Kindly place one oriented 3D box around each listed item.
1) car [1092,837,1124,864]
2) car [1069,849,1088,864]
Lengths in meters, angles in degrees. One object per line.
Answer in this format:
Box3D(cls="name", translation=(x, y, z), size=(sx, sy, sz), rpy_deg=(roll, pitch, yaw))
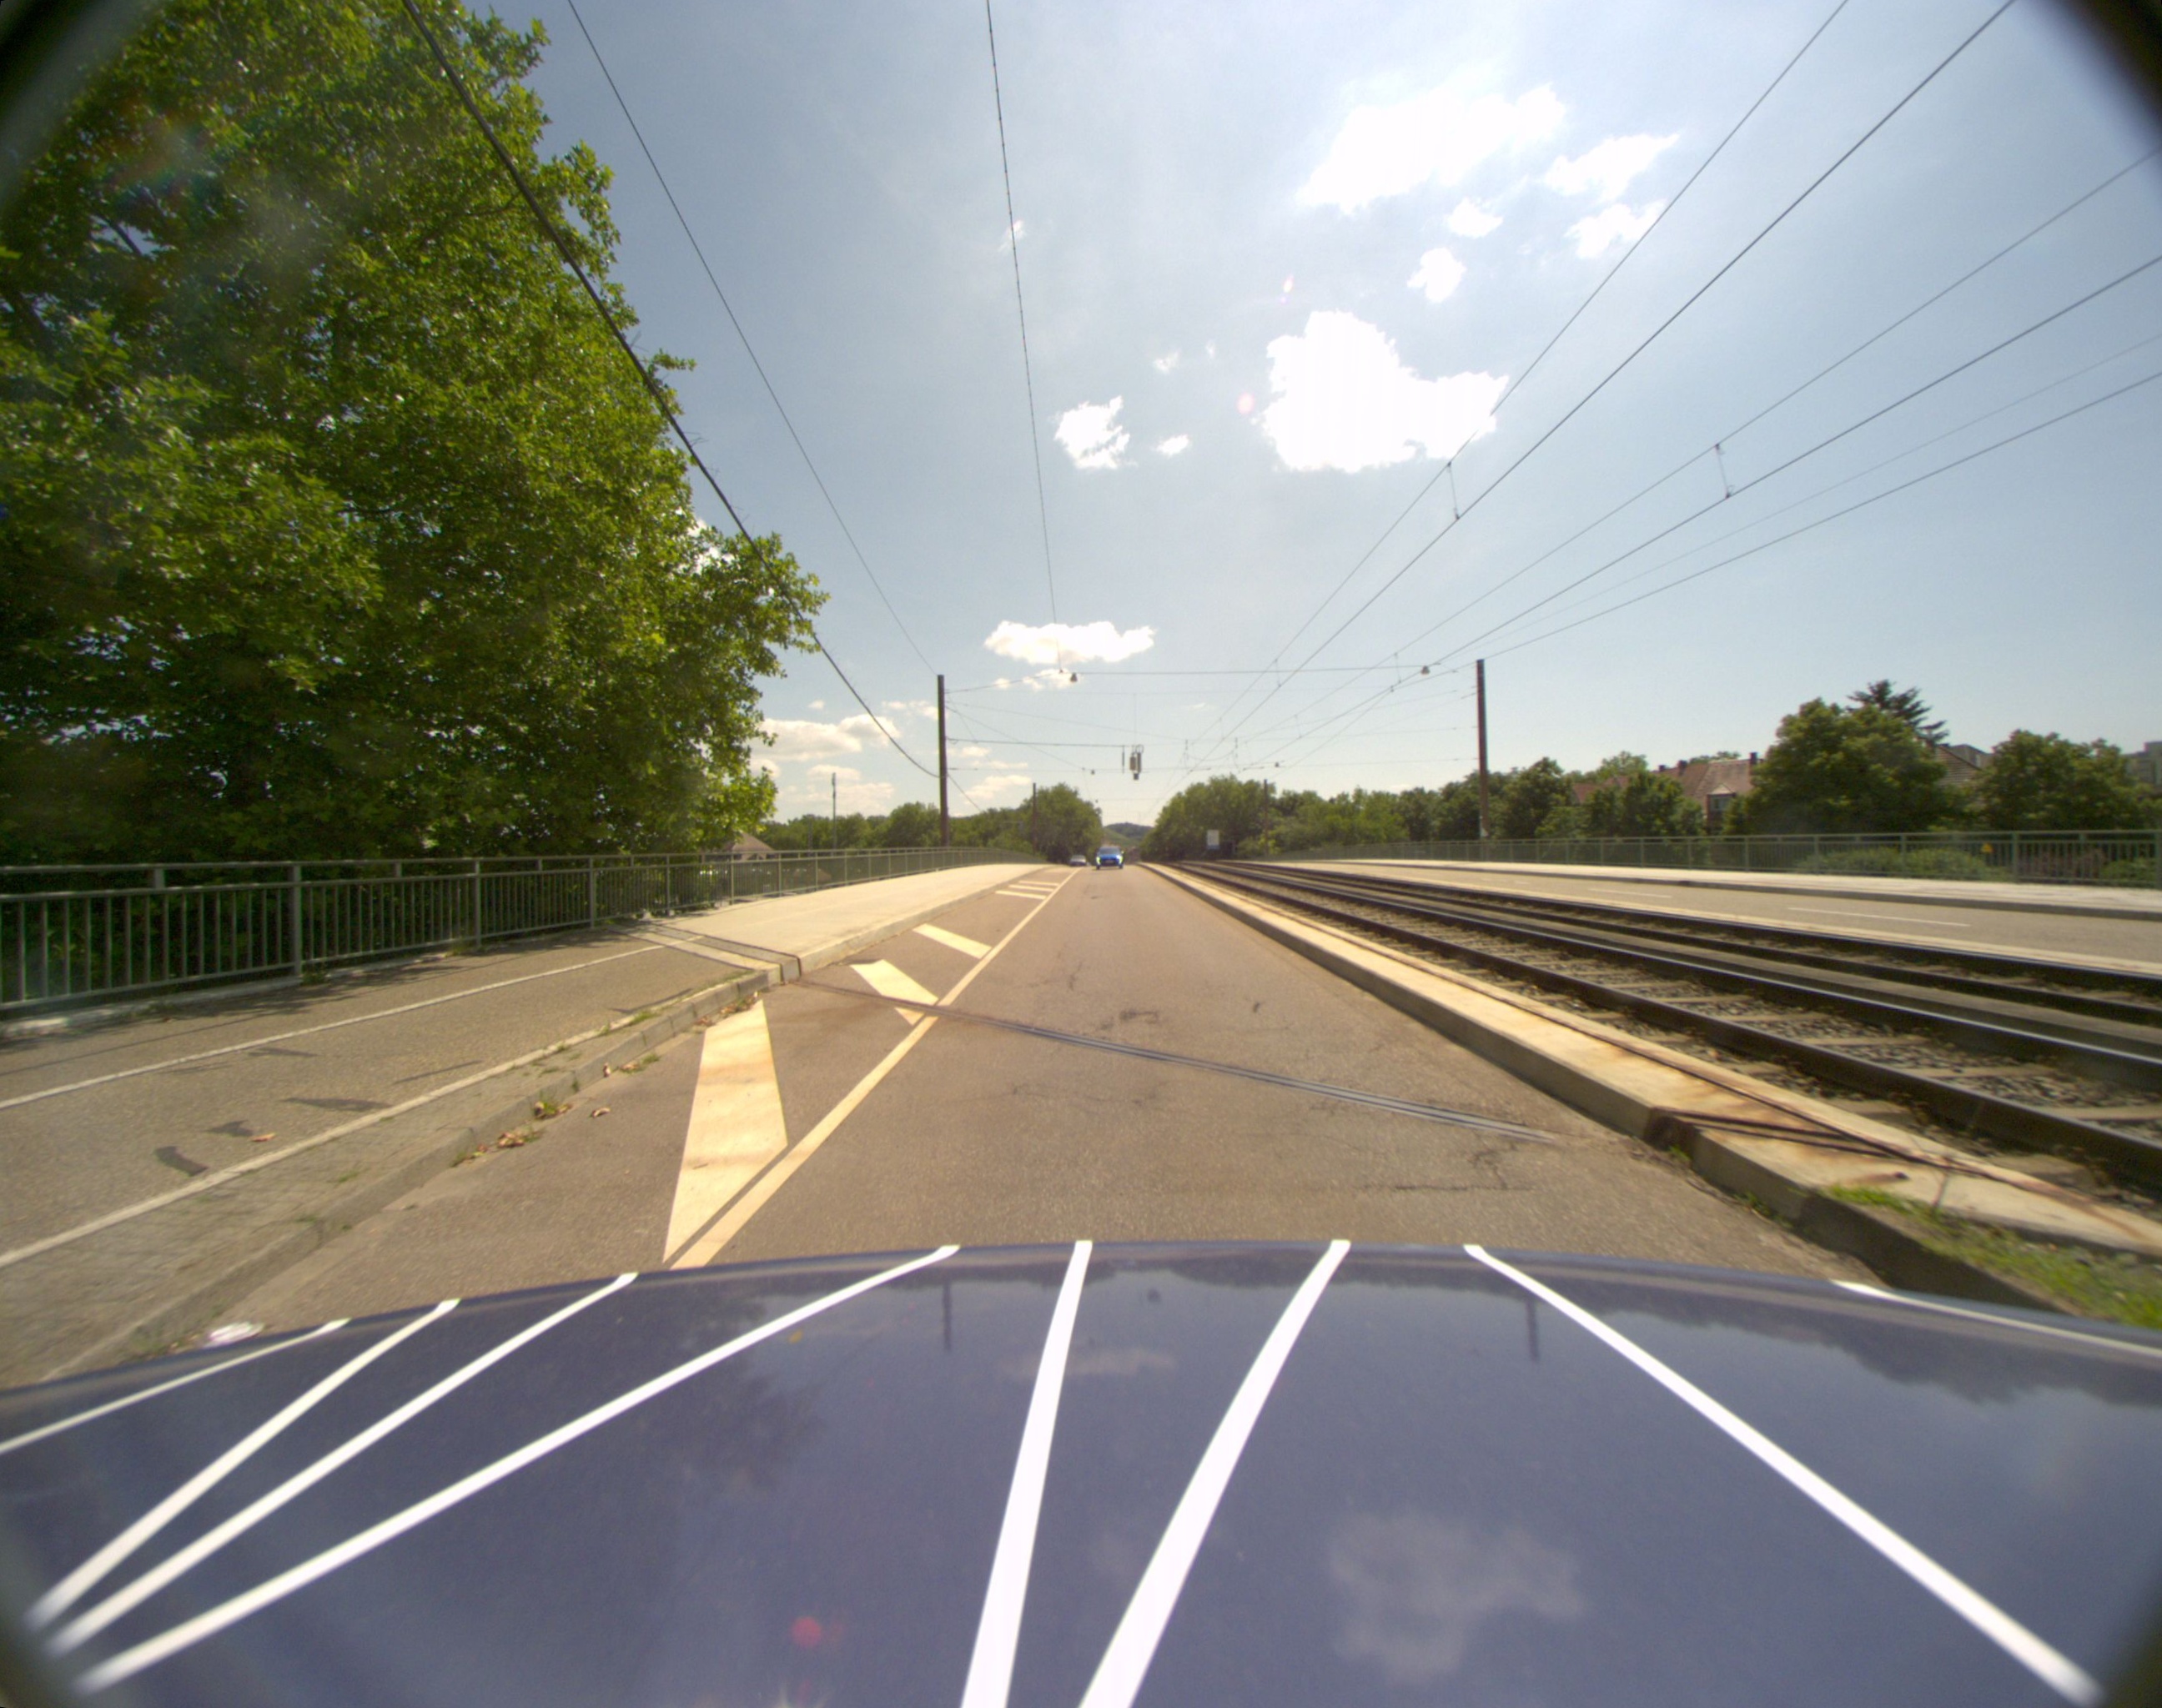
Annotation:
Box3D(cls="car", translation=(1.790, -0.186, 49.383), size=(1.864, 1.630, 4.001), rpy_deg=(-2, 0, 4))
Box3D(cls="car", translation=(-0.268, 0.333, 85.213), size=(1.998, 1.542, 4.722), rpy_deg=(-2, -1, 0))
